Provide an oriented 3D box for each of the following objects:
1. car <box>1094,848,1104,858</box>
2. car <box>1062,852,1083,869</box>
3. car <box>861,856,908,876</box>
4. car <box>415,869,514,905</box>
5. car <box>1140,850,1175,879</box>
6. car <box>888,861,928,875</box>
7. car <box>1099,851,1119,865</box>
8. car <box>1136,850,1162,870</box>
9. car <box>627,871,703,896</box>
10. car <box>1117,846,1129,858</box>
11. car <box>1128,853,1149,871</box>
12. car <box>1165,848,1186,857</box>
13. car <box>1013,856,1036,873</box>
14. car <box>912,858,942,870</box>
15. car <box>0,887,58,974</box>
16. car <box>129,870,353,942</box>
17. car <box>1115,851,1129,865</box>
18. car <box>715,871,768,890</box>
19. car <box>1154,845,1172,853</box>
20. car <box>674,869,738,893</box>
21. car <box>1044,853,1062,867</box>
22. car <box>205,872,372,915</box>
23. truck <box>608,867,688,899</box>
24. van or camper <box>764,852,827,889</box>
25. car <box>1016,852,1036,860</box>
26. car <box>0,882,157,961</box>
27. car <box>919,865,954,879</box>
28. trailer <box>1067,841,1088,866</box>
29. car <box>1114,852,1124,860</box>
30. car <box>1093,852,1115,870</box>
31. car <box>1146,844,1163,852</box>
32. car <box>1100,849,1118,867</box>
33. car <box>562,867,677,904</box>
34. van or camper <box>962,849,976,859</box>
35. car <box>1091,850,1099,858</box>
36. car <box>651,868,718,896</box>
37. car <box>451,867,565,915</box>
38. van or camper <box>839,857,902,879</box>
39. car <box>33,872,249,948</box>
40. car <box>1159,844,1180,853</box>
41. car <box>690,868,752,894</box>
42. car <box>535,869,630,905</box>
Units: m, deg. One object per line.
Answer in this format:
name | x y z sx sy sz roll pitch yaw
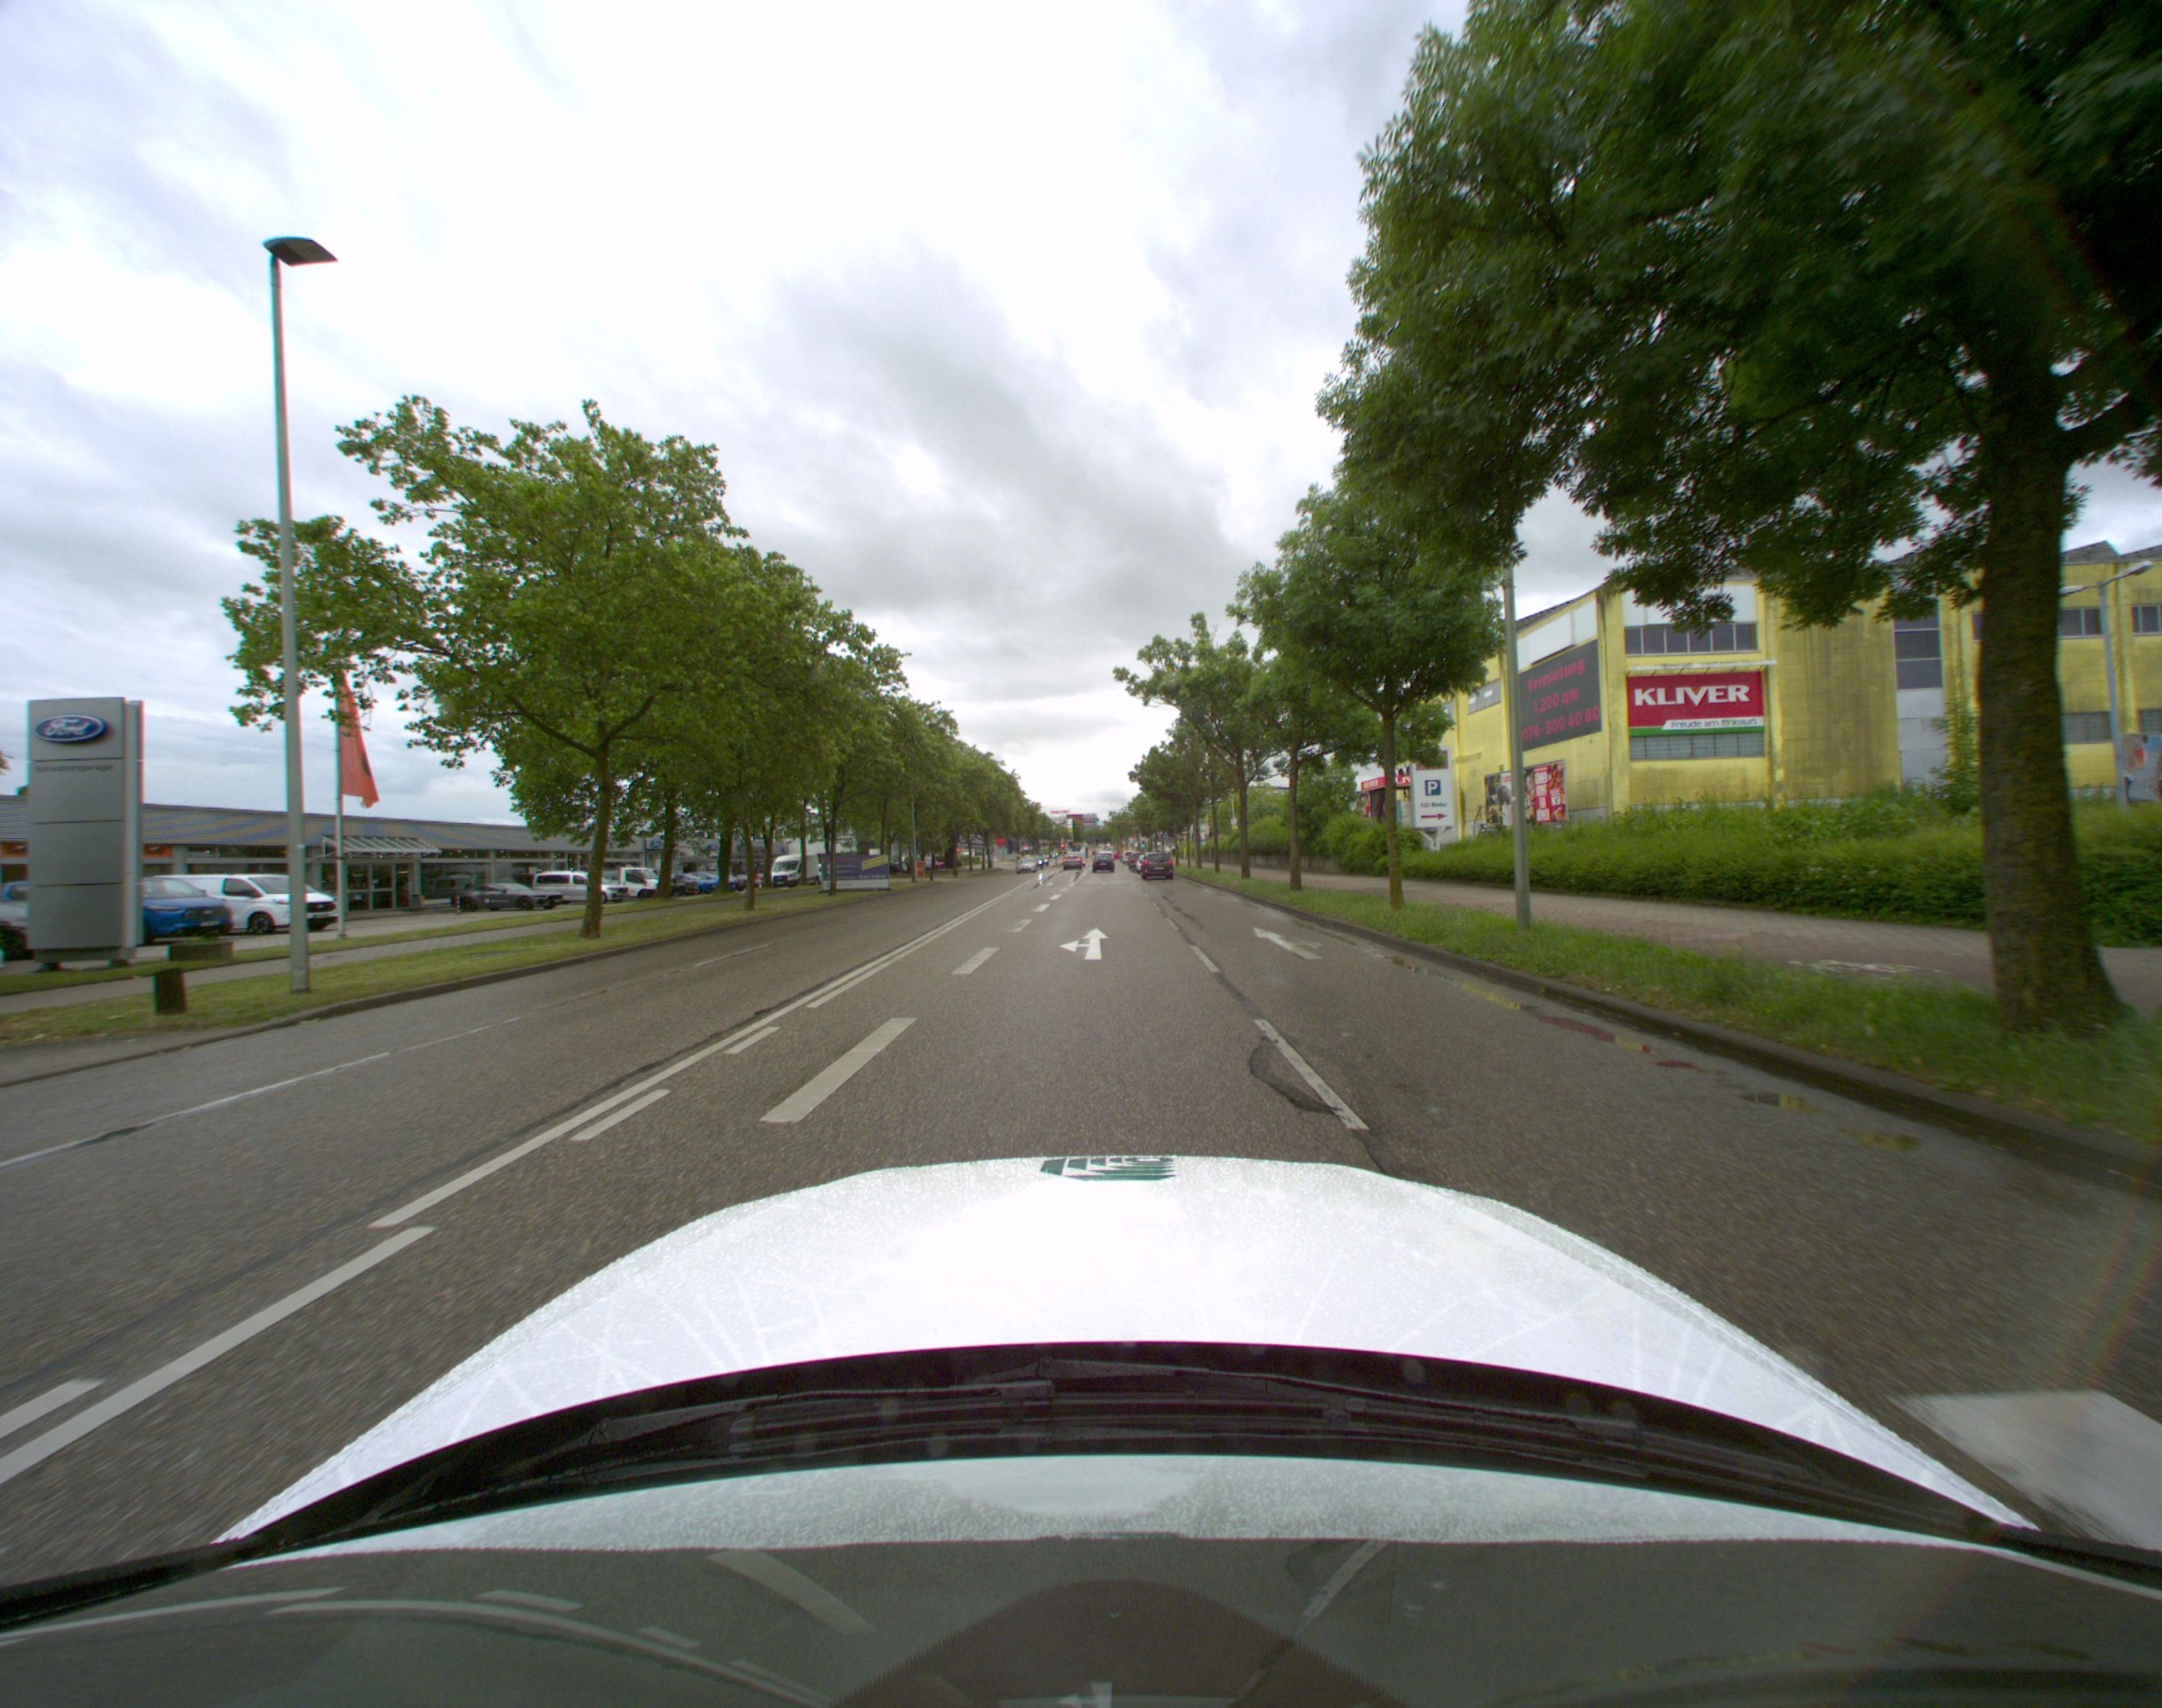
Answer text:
car | 3.857 -0.269 174.077 1.986 2.014 4.002 -1 -1 2
car | -0.867 0.643 85.098 1.900 1.578 4.882 -3 0 1
car | -20.054 1.192 83.078 4.471 1.816 1.985 -2 0 -22
car | -34.396 1.804 45.500 3.975 1.766 1.864 -2 0 -1
car | 4.559 0.586 48.928 1.720 1.624 4.472 -2 0 1
car | -21.625 1.721 101.869 4.571 1.596 1.986 -1 0 -22
car | 2.851 0.369 83.449 1.678 1.377 3.997 -3 0 -2
car | 5.279 0.447 63.796 1.794 1.544 4.622 0 0 2
car | -27.874 1.945 54.657 3.969 1.461 2.036 -2 0 4
car | 6.289 -0.296 121.548 1.678 1.684 3.404 -1 -1 2
car | 5.500 0.747 78.028 1.794 1.587 4.453 0 0 2
car | 18.549 -0.297 159.958 1.908 1.576 4.315 -2 0 42
car | -5.365 0.959 77.993 1.989 1.429 4.680 -3 0 -3
car | -21.921 1.419 115.901 3.971 1.489 1.877 -3 0 -4
car | -20.168 1.413 12.543 2.111 1.496 5.247 -3 0 0
car | -27.483 1.655 26.793 5.030 2.013 2.129 -2 0 -1
car | 5.483 0.514 108.550 1.774 1.866 4.003 -3 0 3
car | -28.971 2.247 69.560 3.867 1.467 1.605 -2 0 13
car | 17.942 -1.101 178.087 3.617 1.536 1.625 -3 0 -39
car | -27.483 1.991 59.752 3.957 1.520 1.873 -2 0 15
car | -3.229 0.697 94.253 1.756 1.531 3.860 -4 0 2
car | -38.794 1.887 40.095 5.361 1.838 2.370 -1 -1 -27
truck | -27.480 1.823 51.833 3.985 1.838 1.994 -2 0 -9
van or camper | -20.104 1.103 57.634 1.986 2.470 6.404 -1 0 2
car | -12.193 0.441 179.477 3.948 1.552 1.912 -3 1 35
car | -27.088 1.738 21.021 4.110 1.813 2.067 -2 0 2
car | -19.522 2.387 109.687 4.236 1.596 1.985 -4 1 -23
trailer | -0.403 -0.086 100.273 2.365 2.897 5.545 -3 0 0
car | 6.758 0.316 145.074 1.689 1.443 3.991 -2 0 2
car | 1.903 0.570 69.319 1.775 1.398 4.000 -1 0 1
car | 18.660 -1.615 207.587 4.094 1.904 1.801 -3 0 2
car | 3.325 0.508 97.298 1.986 2.014 4.001 -1 -1 1
car | -27.375 1.848 48.449 5.362 1.903 2.414 -2 0 -3
van or camper | -21.757 0.007 157.970 1.986 1.967 4.789 -1 -1 1
car | 3.472 -0.004 201.140 1.986 2.014 4.002 -1 -1 2
car | -27.806 1.954 57.146 3.956 1.766 1.873 -2 0 16
car | -27.147 1.727 38.701 3.976 2.013 1.881 -2 0 -2
van or camper | -19.644 1.297 75.921 5.308 1.821 2.248 -2 0 -25
car | -27.086 1.576 23.570 3.972 1.889 1.964 -2 0 2
car | 18.701 -1.106 172.331 4.048 1.662 1.960 -5 2 -39
car | -27.538 2.037 62.326 3.955 1.766 1.873 -2 0 17
car | -27.367 1.797 44.812 3.976 1.766 1.881 -2 0 -2
